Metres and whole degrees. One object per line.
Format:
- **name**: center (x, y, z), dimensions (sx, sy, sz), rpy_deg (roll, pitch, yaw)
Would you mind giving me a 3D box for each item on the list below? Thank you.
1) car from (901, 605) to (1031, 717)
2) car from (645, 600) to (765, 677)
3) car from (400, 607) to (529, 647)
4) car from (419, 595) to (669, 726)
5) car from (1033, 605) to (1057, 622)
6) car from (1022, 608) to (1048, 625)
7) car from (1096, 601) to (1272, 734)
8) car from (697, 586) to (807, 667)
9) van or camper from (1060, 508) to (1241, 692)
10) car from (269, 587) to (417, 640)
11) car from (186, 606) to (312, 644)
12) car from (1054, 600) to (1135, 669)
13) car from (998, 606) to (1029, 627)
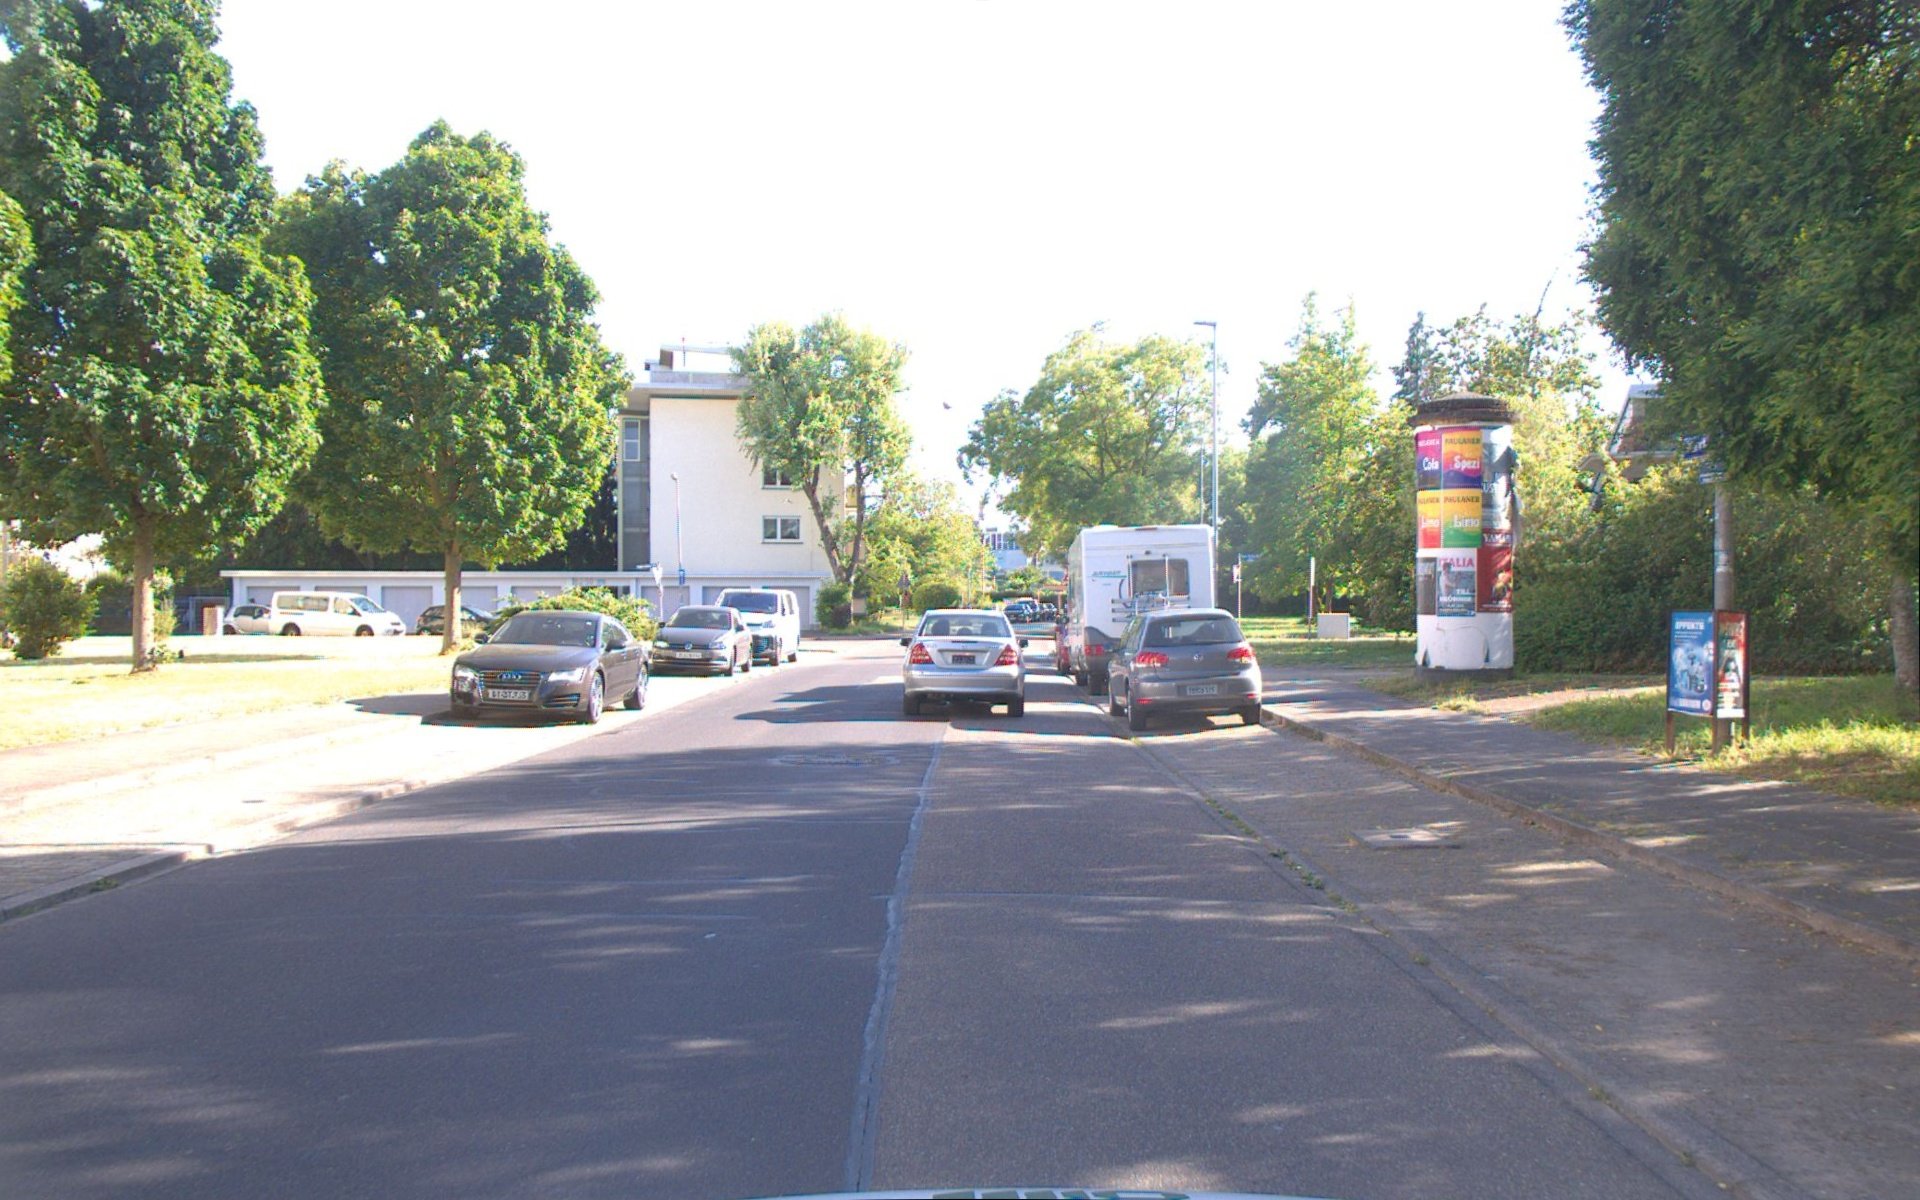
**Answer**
- **car**: center (0.129, 0.821, 23.300), dimensions (1.697, 1.459, 3.438), rpy_deg (0, -1, 2)
- **car**: center (-5.493, 0.809, 36.132), dimensions (1.795, 1.544, 4.222), rpy_deg (1, -1, 2)
- **car**: center (-19.270, 1.049, 64.436), dimensions (4.347, 1.486, 2.045), rpy_deg (-1, 0, 8)
- **car**: center (-5.528, 0.737, 22.759), dimensions (1.993, 1.519, 5.256), rpy_deg (2, 0, 1)
- **car**: center (7.872, 1.260, 152.742), dimensions (1.712, 1.547, 4.196), rpy_deg (-1, -1, 10)
- **car**: center (6.621, 1.463, 146.271), dimensions (1.713, 1.353, 3.453), rpy_deg (-3, -1, 11)
- **car**: center (2.957, 0.836, 22.724), dimensions (1.685, 1.551, 4.428), rpy_deg (-3, 0, -1)
- **car**: center (-5.273, 0.667, 42.628), dimensions (1.972, 1.918, 5.191), rpy_deg (1, 0, 2)
- **van or camper**: center (3.246, 0.002, 29.840), dimensions (2.445, 2.895, 6.851), rpy_deg (-1, 0, 0)
- **car**: center (-24.274, 0.536, 65.159), dimensions (4.996, 1.985, 2.239), rpy_deg (-1, 0, 8)
- **car**: center (-29.429, 1.020, 68.541), dimensions (4.350, 1.486, 2.000), rpy_deg (-1, 0, 2)
- **car**: center (3.094, 0.768, 38.690), dimensions (1.656, 1.500, 4.001), rpy_deg (-1, 0, 1)
- **car**: center (4.161, 1.295, 127.776), dimensions (1.872, 1.516, 3.840), rpy_deg (-3, -1, 9)
